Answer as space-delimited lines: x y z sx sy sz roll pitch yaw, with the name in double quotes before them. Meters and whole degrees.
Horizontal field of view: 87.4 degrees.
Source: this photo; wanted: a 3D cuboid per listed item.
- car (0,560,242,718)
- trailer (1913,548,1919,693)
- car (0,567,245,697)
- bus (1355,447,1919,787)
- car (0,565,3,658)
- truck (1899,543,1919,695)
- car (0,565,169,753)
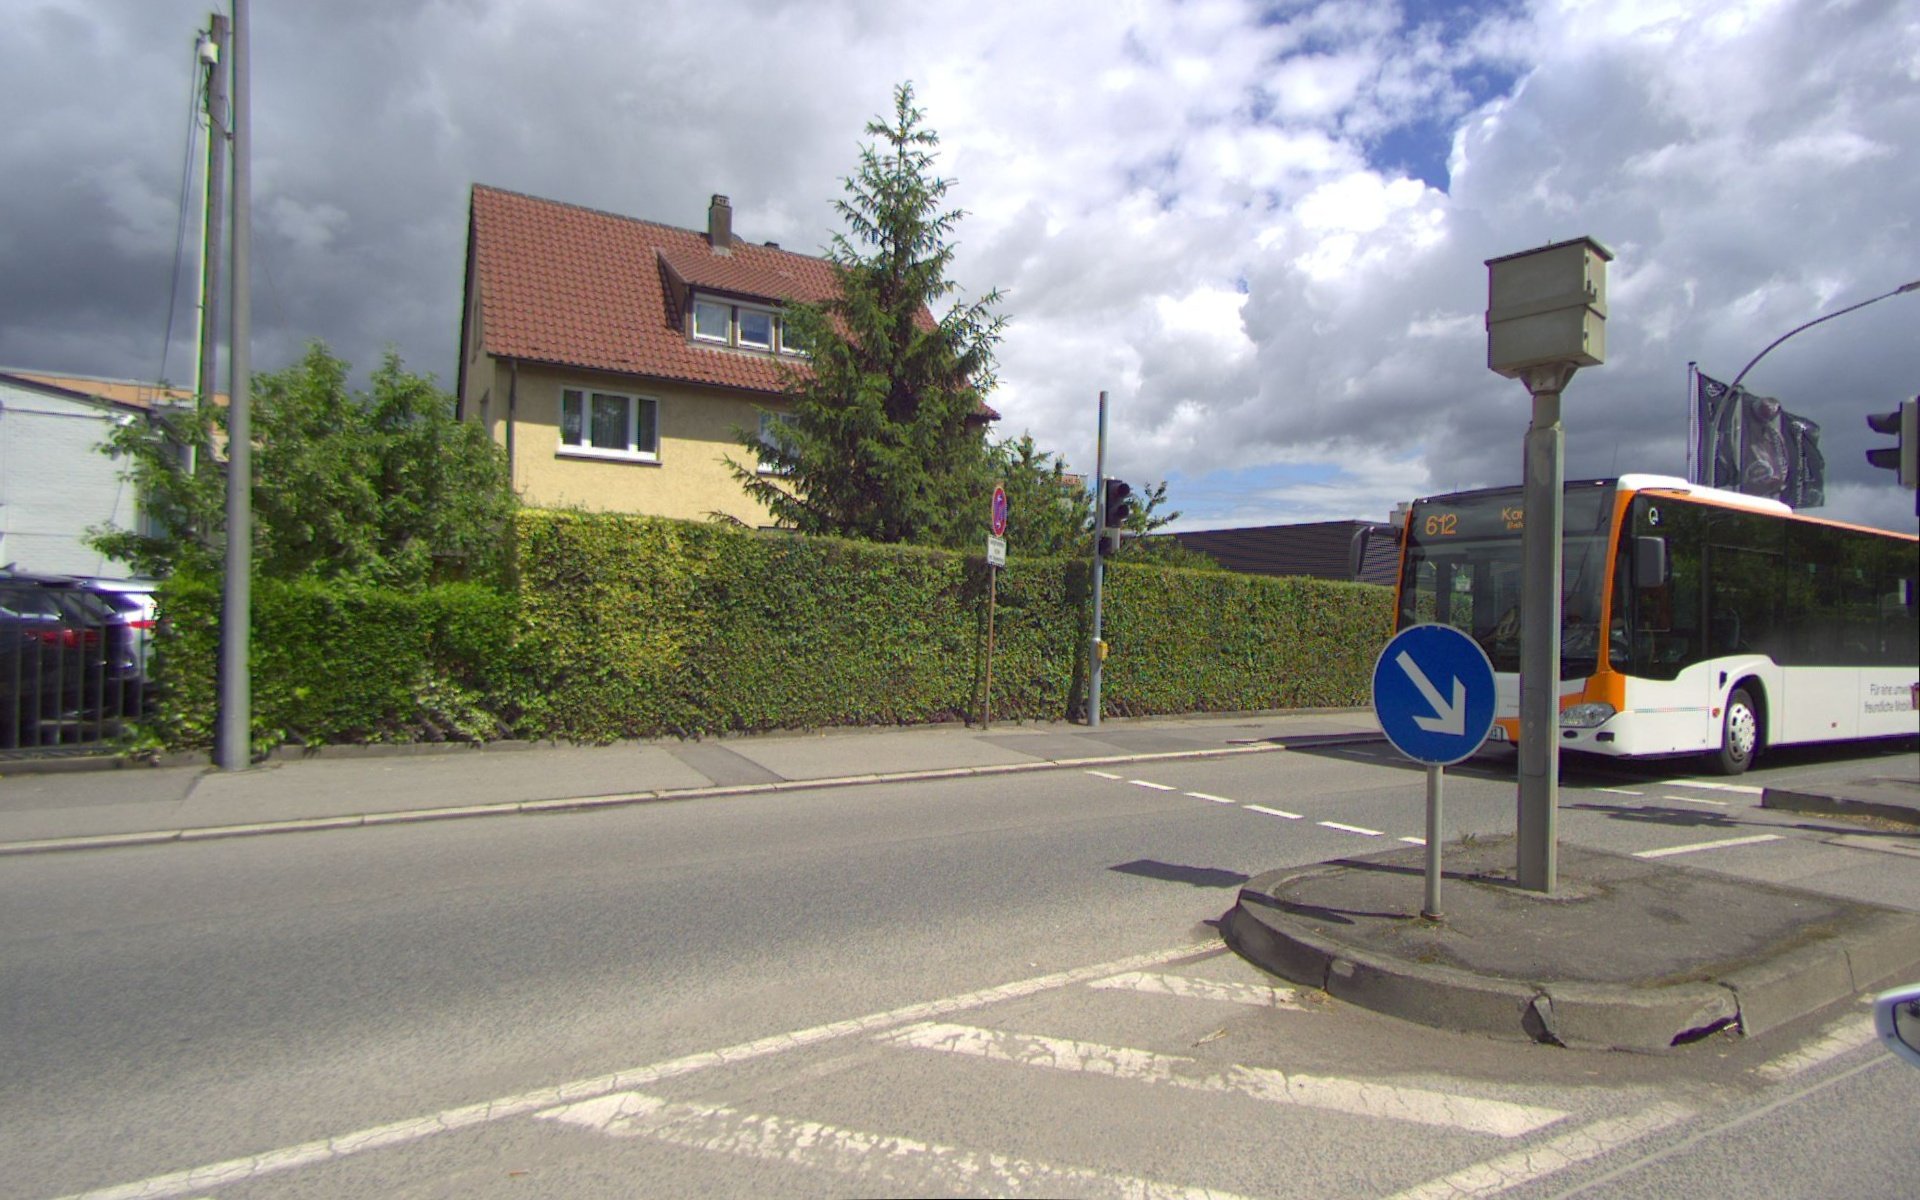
"car" -10.223 0.370 10.649 3.951 1.561 1.985 2 -1 -28
"trailer" 34.091 0.857 32.274 15.419 4.106 2.777 2 -1 -38
"car" -11.896 0.384 13.059 3.951 1.569 1.985 2 -1 -28
"bus" 10.405 0.385 13.336 12.123 3.070 2.706 2 -2 -30
"car" -19.342 0.305 17.104 3.951 2.040 1.985 2 -1 -28
"truck" 28.958 0.630 28.213 6.444 4.107 2.777 2 -1 -38
"car" -9.187 0.419 8.187 3.995 1.502 1.851 2 -1 -29
